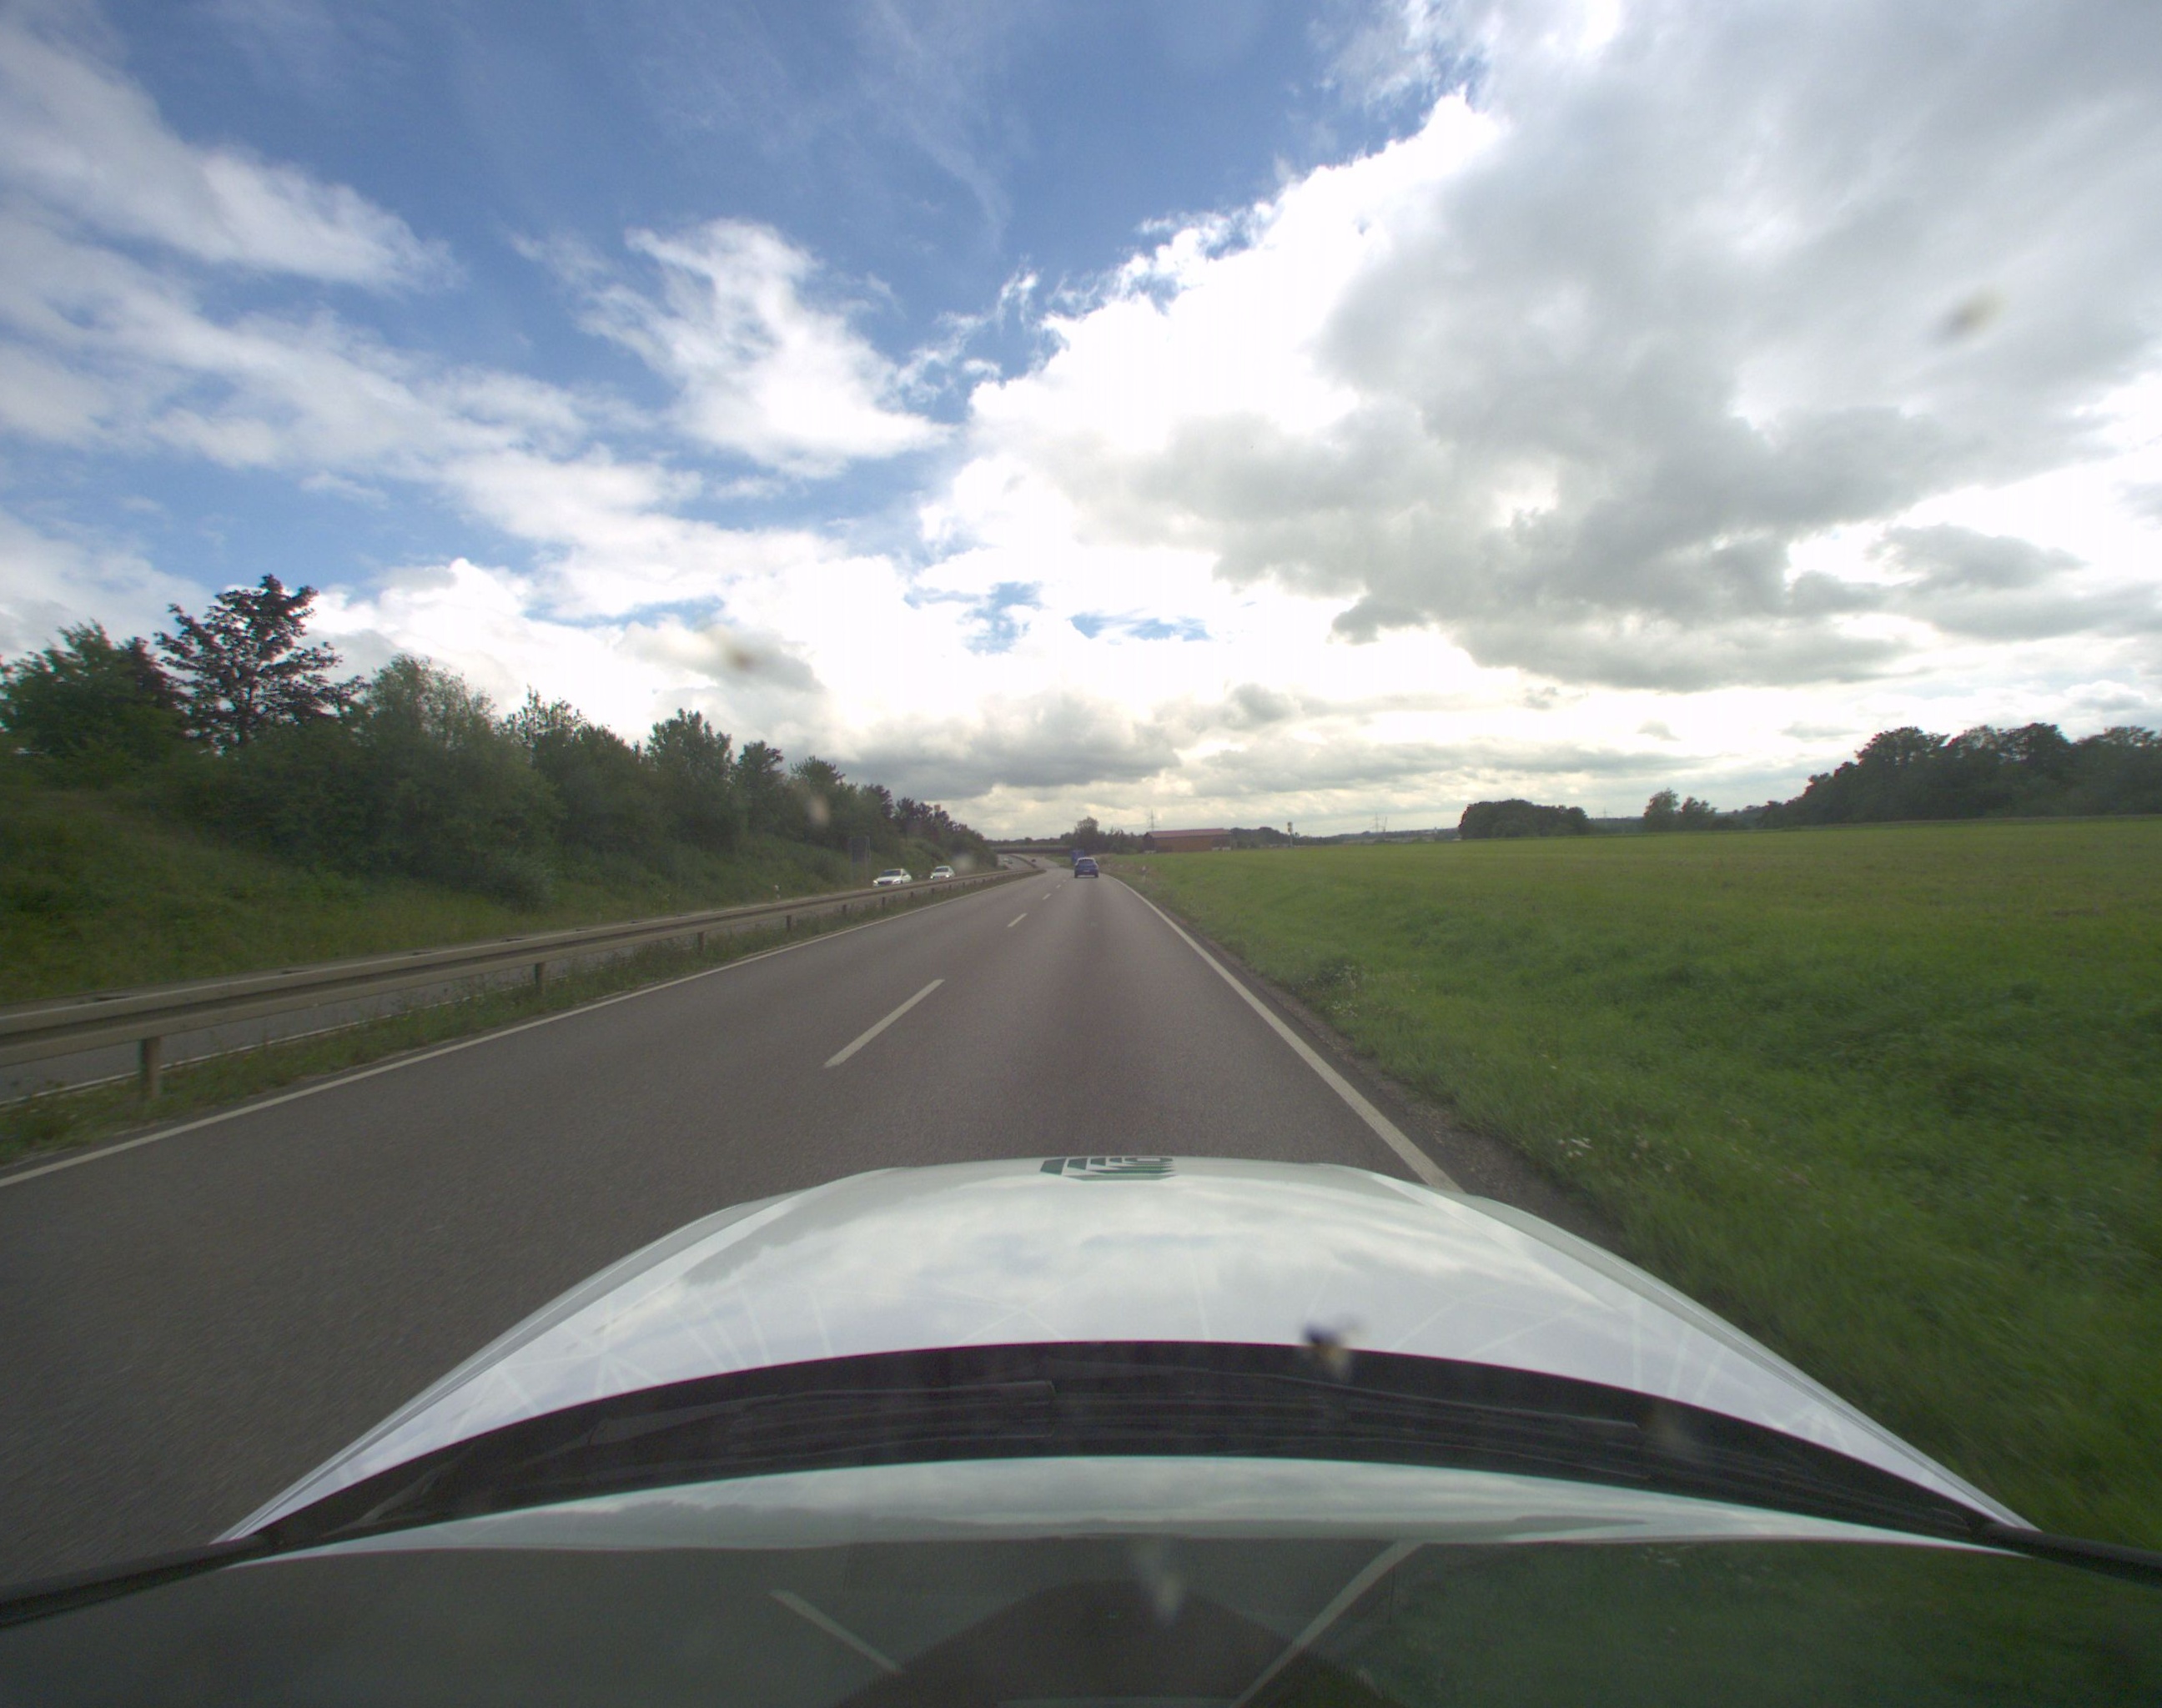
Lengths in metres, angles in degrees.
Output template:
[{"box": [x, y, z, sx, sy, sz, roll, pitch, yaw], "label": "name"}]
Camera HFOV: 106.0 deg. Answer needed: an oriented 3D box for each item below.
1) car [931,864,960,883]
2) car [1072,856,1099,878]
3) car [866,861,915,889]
[{"box": [-12.429, 1.768, 74.941, 1.915, 1.517, 4.462, -3, 1, -1], "label": "car"}, {"box": [0.365, 1.027, 66.744, 2.028, 1.660, 4.540, -1, 1, -2], "label": "car"}, {"box": [-12.600, 1.337, 54.283, 1.987, 1.517, 4.989, -3, 1, 0], "label": "car"}]
